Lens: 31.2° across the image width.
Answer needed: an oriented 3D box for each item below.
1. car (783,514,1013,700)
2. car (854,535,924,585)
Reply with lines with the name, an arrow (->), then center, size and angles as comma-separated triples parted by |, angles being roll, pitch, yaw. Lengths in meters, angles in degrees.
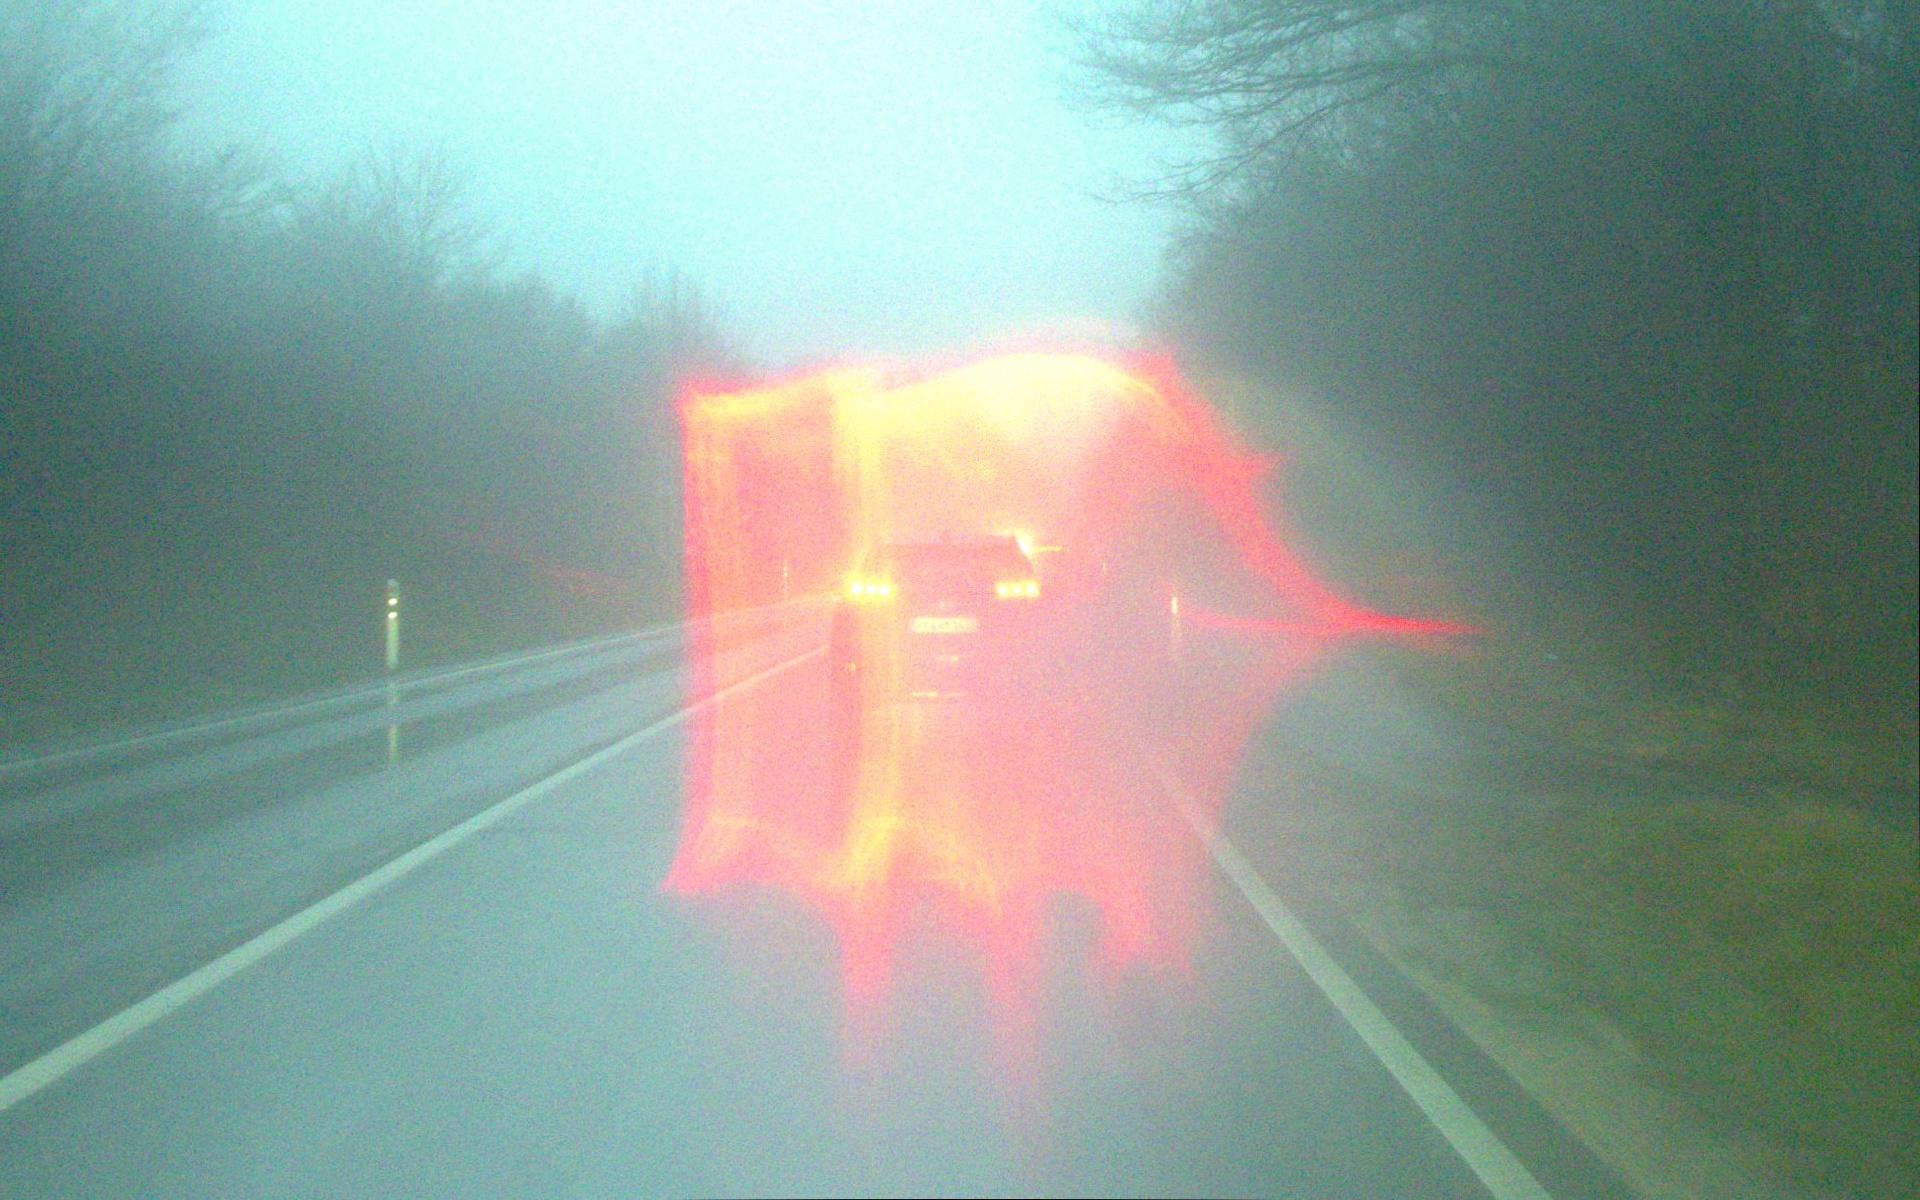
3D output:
car -> -0.432, 0.019, 27.725 | 1.679, 1.385, 4.098 | 0, 1, 1
car -> -2.061, -1.187, 100.817 | 1.814, 1.433, 4.098 | 0, 1, 2
